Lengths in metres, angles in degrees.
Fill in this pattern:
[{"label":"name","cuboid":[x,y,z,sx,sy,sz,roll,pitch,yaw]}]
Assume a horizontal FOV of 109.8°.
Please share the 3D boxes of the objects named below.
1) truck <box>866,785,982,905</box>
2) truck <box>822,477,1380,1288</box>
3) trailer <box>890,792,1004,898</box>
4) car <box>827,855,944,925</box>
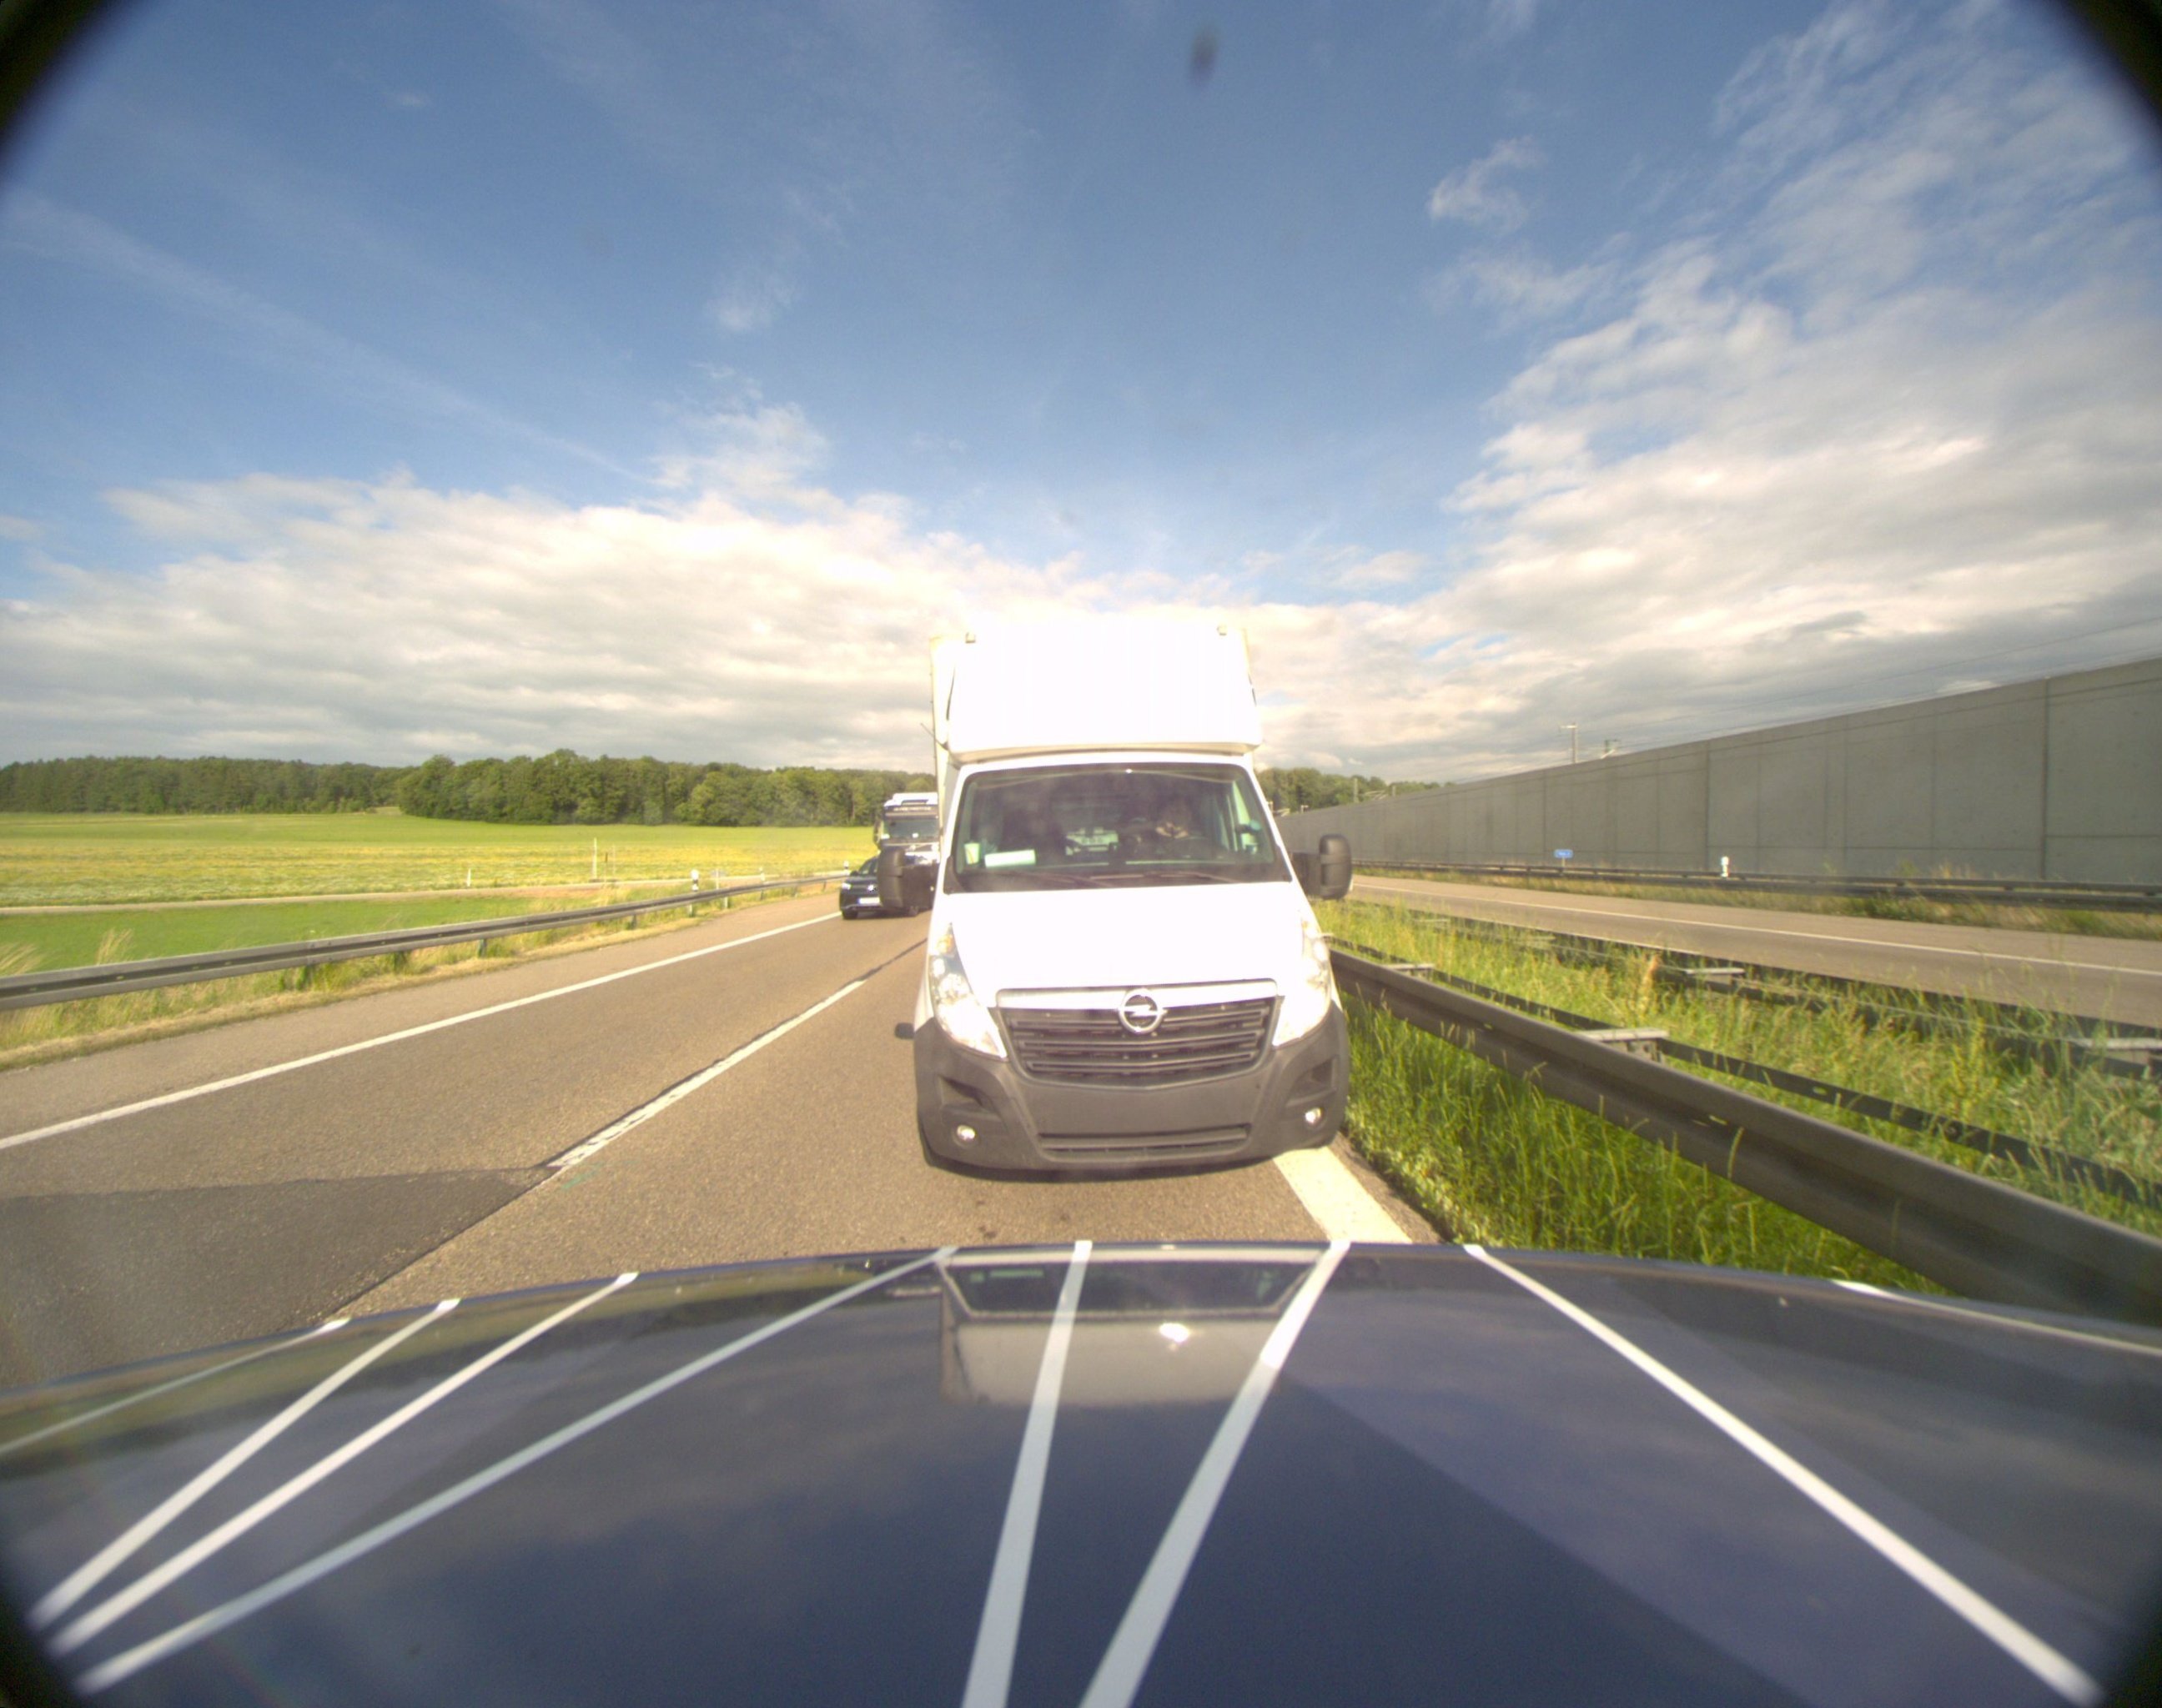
[{"label":"truck","cuboid":[-5.790,-0.343,29.193,2.842,3.967,6.500,-2,1,1]},{"label":"truck","cuboid":[0.138,0.085,6.856,2.060,3.088,7.803,-2,1,1]},{"label":"trailer","cuboid":[-5.713,-0.413,35.047,2.826,3.959,12.127,-2,1,1]},{"label":"car","cuboid":[-5.140,0.884,20.626,1.998,1.587,4.118,-2,1,1]}]
